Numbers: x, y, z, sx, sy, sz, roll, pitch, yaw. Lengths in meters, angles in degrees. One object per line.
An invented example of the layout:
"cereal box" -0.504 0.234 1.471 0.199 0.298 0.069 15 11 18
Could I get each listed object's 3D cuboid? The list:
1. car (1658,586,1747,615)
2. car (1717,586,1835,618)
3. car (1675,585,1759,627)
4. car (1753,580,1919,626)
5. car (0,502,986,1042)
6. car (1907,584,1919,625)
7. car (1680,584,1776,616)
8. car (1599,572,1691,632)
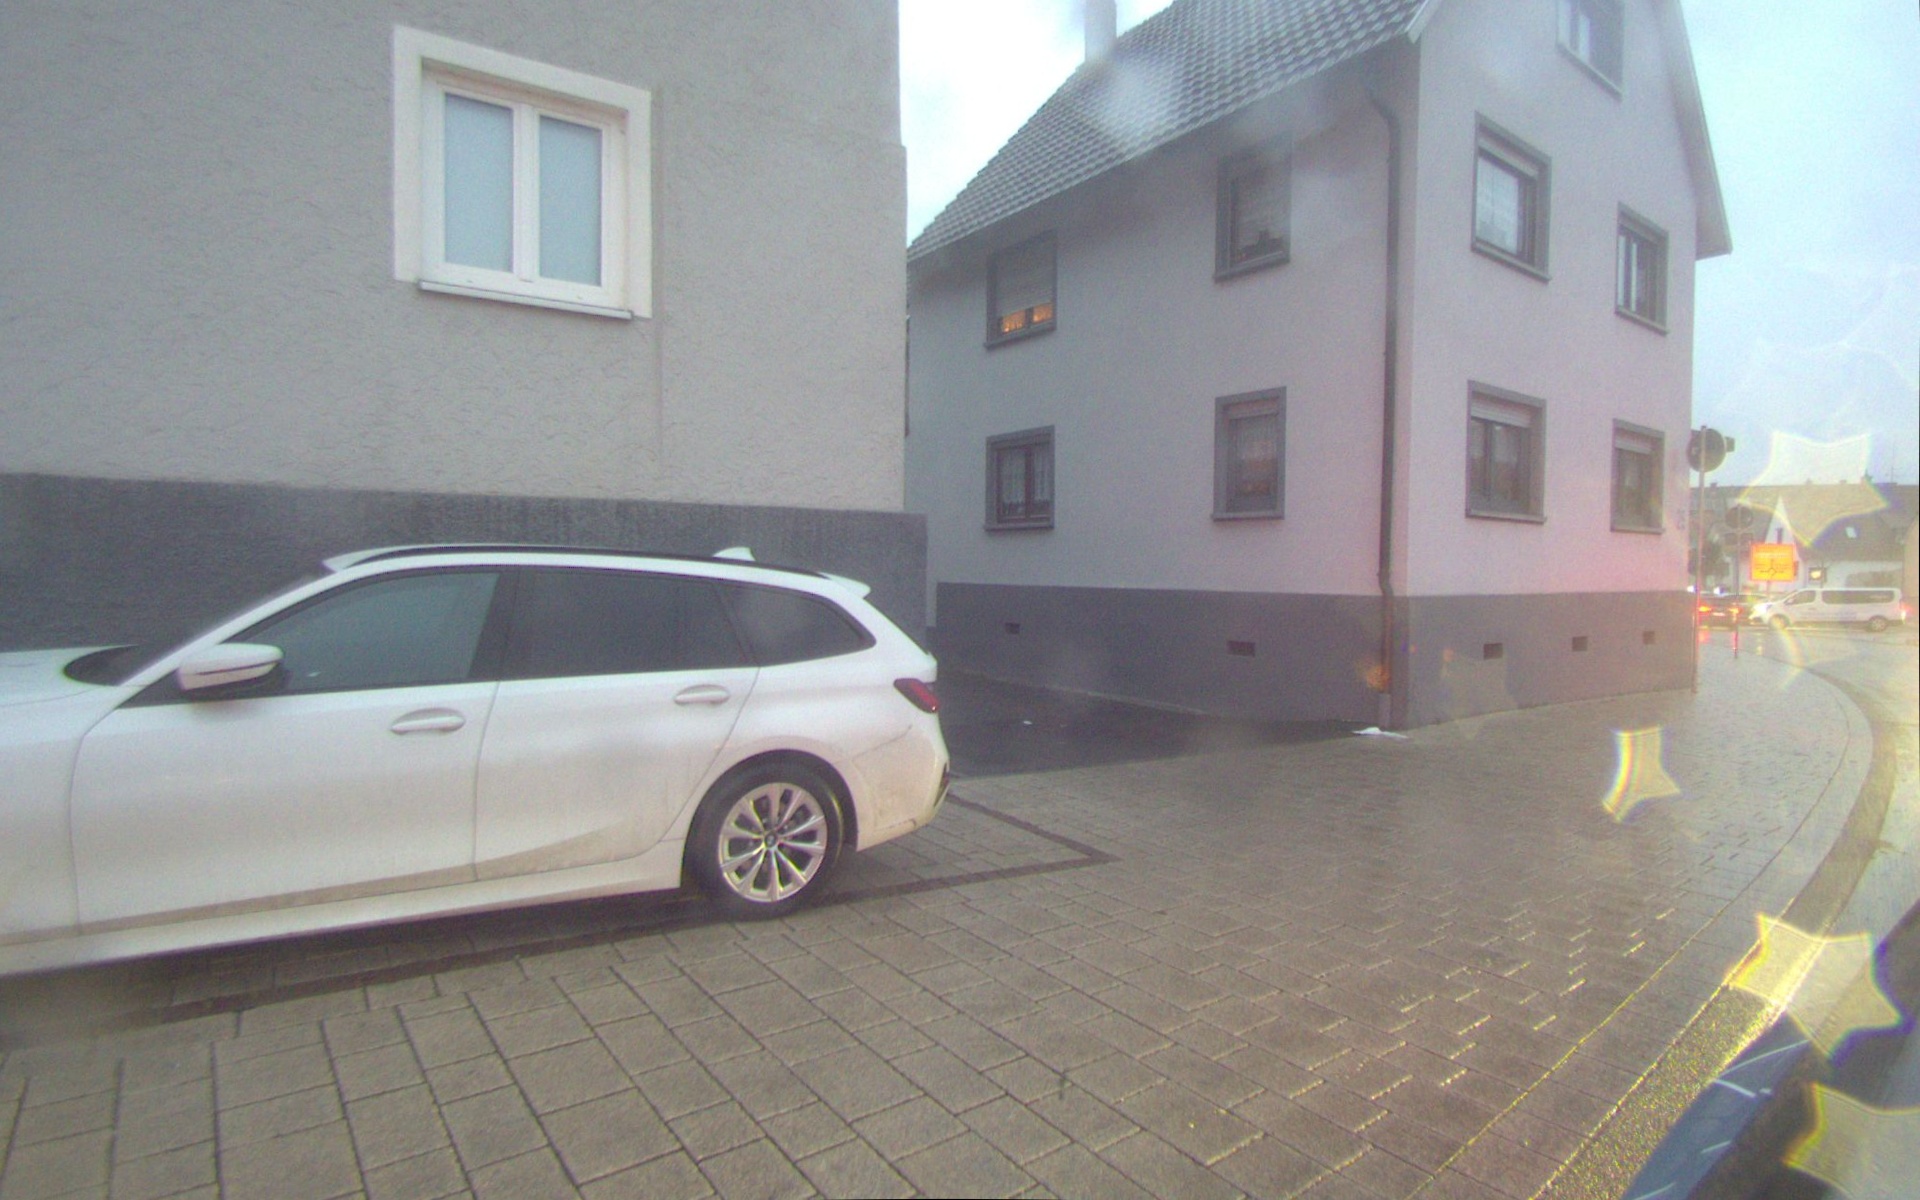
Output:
"car" 49.473 0.002 67.518 4.370 1.824 1.833 2 1 19
"car" 46.836 0.106 58.226 4.823 1.705 1.986 2 0 21
"car" 35.855 0.227 48.081 2.124 1.884 4.706 0 1 23
"car" 39.940 0.121 46.174 5.737 1.971 1.967 0 0 33
"car" -2.294 0.438 4.078 4.452 1.484 1.892 1 2 -31
"car" 41.506 0.242 40.727 4.393 1.652 2.142 1 1 20
"car" 49.102 -0.013 64.808 4.459 1.890 1.857 2 1 19
"car" 24.779 0.051 36.794 1.959 1.984 4.810 1 1 25
